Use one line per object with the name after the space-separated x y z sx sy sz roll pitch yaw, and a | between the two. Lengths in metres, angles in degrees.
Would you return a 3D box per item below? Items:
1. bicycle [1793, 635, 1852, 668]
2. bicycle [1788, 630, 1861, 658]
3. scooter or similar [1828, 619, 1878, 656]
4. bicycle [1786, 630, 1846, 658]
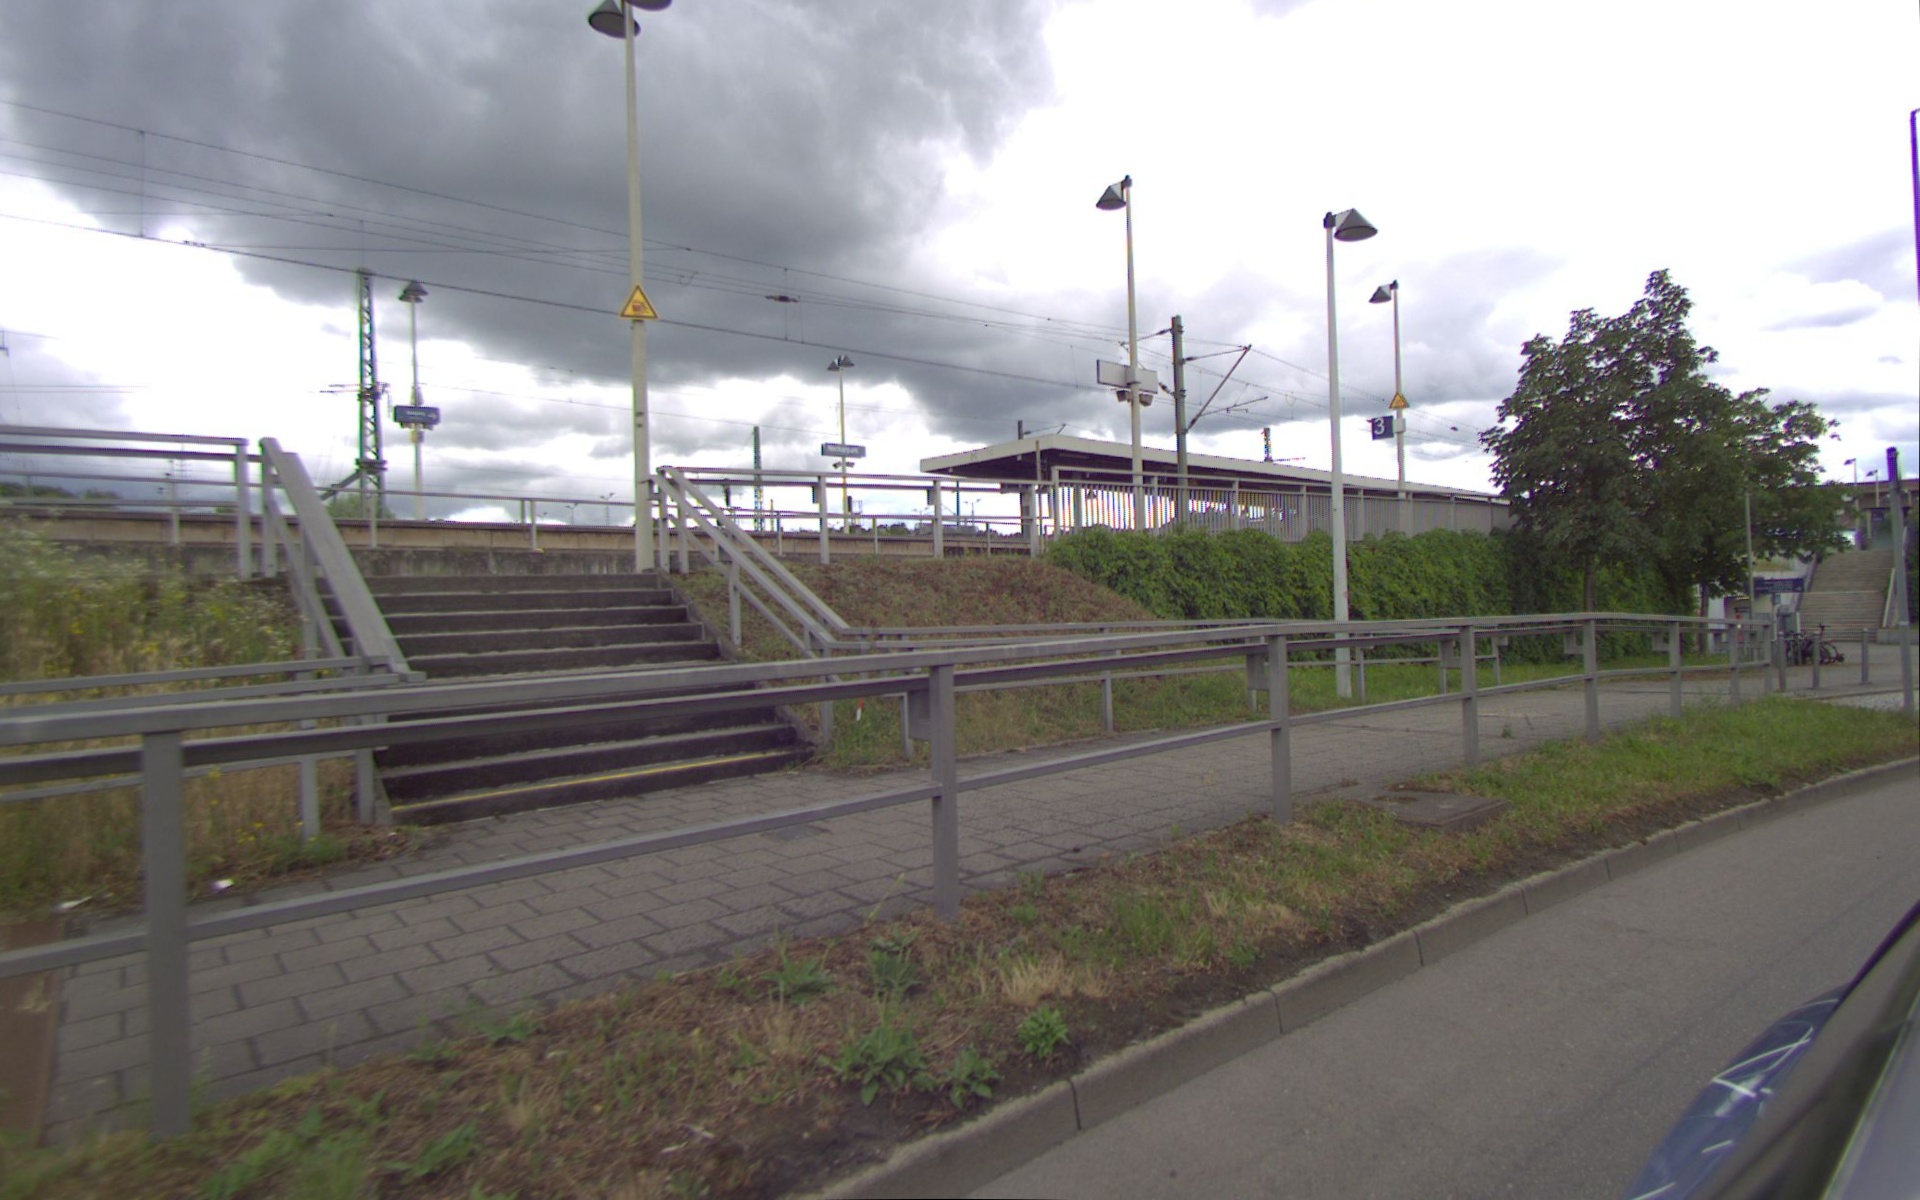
26.616 1.575 31.259 0.683 1.002 1.487 -1 -2 11 | bicycle
28.300 1.443 33.170 0.500 0.876 1.973 0 -4 -7 | bicycle
29.671 1.246 33.641 0.459 1.222 1.191 -1 -3 -4 | scooter or similar
27.282 1.393 32.278 0.454 0.865 1.580 0 -3 -4 | bicycle
